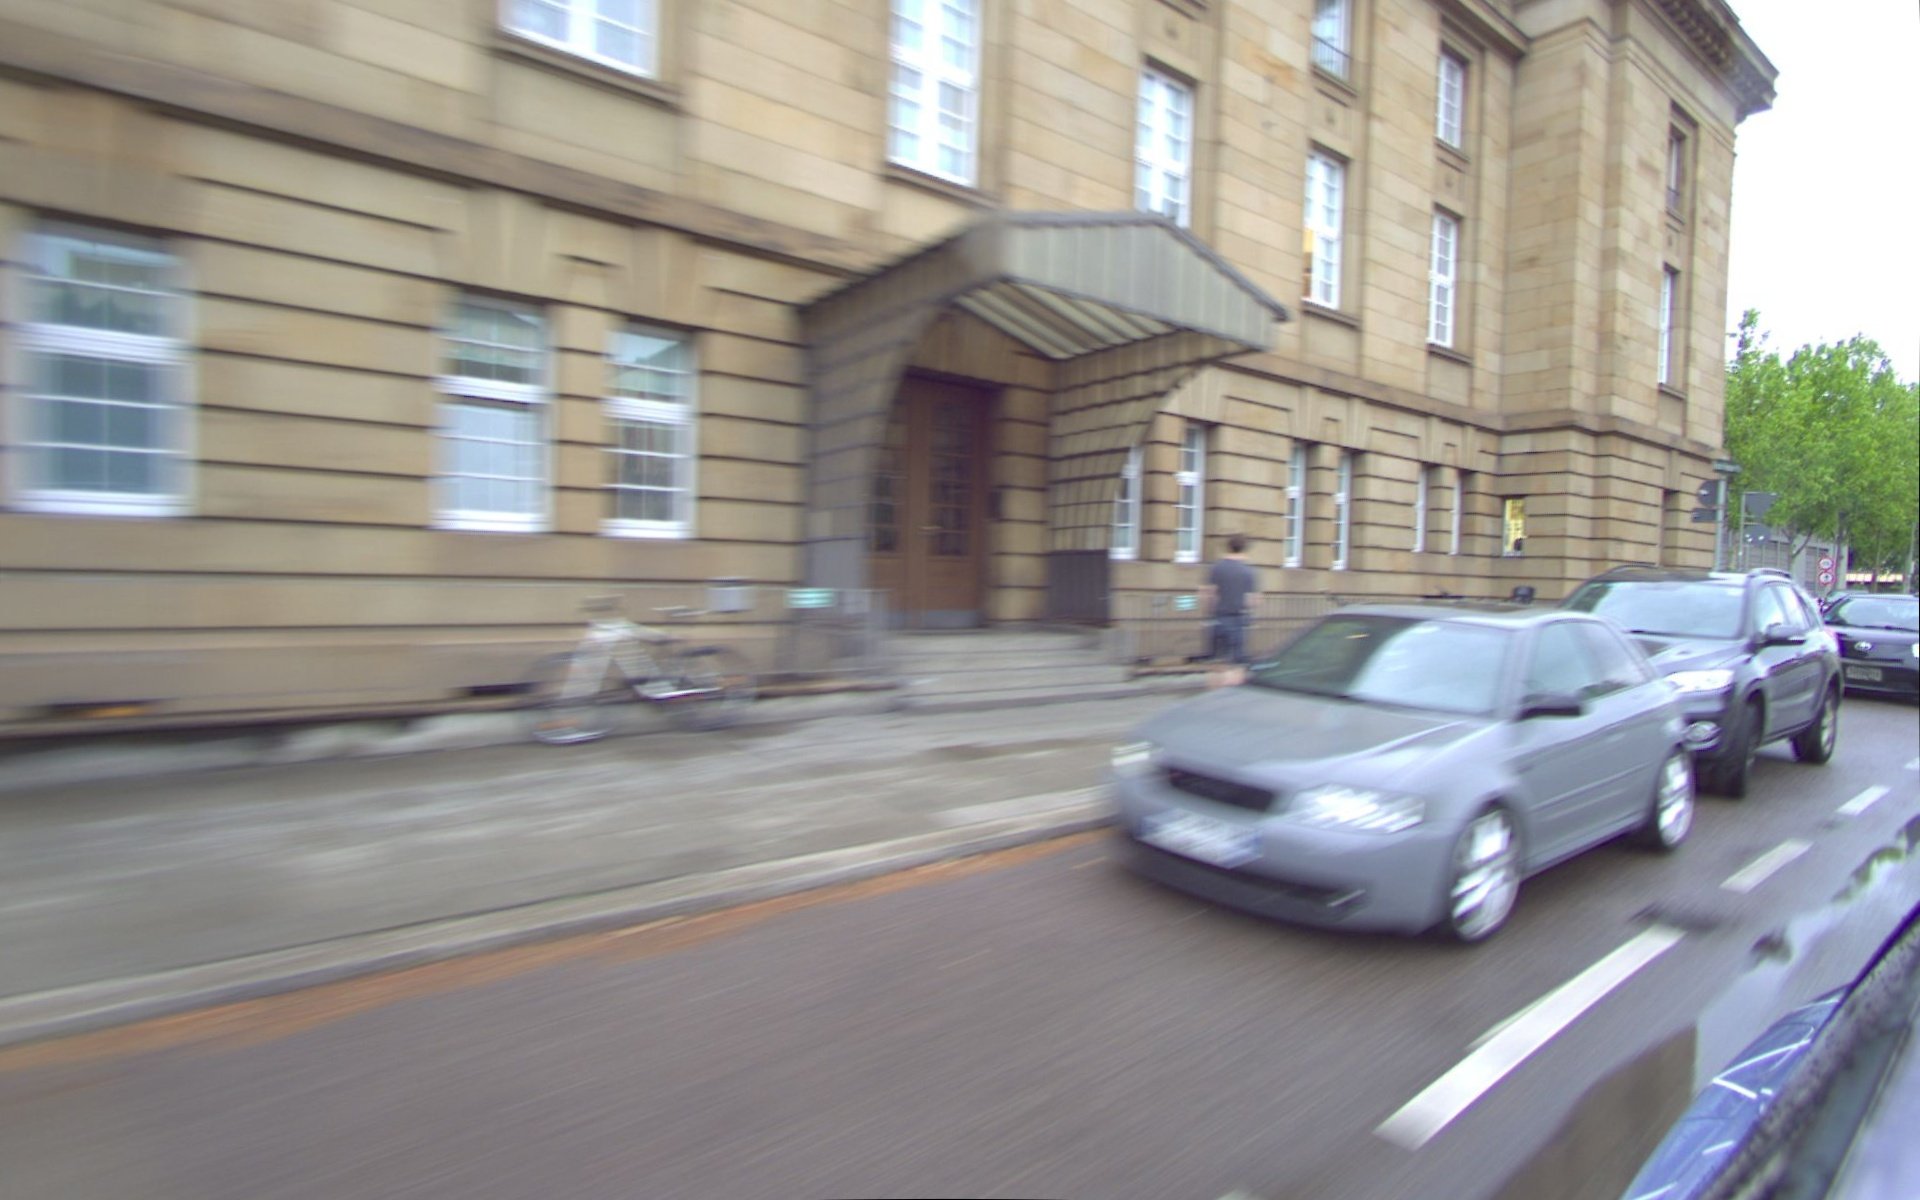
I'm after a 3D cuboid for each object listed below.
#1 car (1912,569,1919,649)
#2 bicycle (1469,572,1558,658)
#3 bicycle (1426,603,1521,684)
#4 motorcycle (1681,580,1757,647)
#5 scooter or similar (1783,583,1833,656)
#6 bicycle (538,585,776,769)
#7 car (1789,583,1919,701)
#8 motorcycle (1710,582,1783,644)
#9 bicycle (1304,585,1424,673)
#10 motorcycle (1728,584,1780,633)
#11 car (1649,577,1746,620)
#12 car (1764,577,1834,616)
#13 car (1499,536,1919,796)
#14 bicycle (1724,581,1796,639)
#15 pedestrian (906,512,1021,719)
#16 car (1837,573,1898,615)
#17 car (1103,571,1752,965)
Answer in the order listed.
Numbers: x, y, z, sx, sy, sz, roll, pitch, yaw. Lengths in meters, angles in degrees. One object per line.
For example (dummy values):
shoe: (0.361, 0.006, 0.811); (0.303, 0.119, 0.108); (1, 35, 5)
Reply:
car: (22.040, 0.222, 21.647); (4.326, 1.639, 1.876); (0, 3, -40)
bicycle: (8.837, 0.203, 16.129); (1.730, 1.284, 0.731); (-1, 3, -44)
bicycle: (7.525, 0.603, 14.796); (1.712, 1.064, 0.713); (-1, 2, -44)
motorcycle: (16.117, 0.262, 21.479); (2.094, 1.342, 0.669); (-1, 2, -35)
scooter or similar: (15.906, 0.345, 19.006); (0.431, 1.309, 1.246); (1, 2, 27)
bicycle: (-2.224, 0.512, 7.568); (1.662, 1.230, 0.465); (-1, 2, -41)
car: (13.652, 0.544, 14.555); (3.091, 1.431, 1.766); (-1, 5, -34)
motorcycle: (17.751, 0.270, 22.838); (1.765, 1.314, 0.809); (-1, 2, -35)
bicycle: (5.204, 0.339, 12.988); (1.726, 1.050, 0.585); (-1, 2, -36)
motorcycle: (34.484, 0.350, 43.947); (2.544, 1.929, 0.749); (-1, -17, -40)
car: (33.208, -0.034, 45.536); (4.405, 1.706, 1.960); (0, -5, -33)
car: (35.451, -0.175, 42.762); (2.965, 1.556, 1.586); (-1, 3, -37)
car: (6.837, 0.398, 9.057); (4.111, 1.803, 2.000); (-1, 2, -37)
bicycle: (19.621, 0.225, 24.811); (1.827, 1.333, 1.103); (-1, 2, -43)
pedestrian: (0.020, 0.108, 9.320); (0.630, 1.798, 0.797); (0, 5, -38)
car: (35.947, -0.283, 40.048); (1.687, 1.513, 3.565); (2, 3, 43)
car: (2.781, 0.594, 5.771); (3.636, 1.496, 1.936); (-1, 2, -39)
